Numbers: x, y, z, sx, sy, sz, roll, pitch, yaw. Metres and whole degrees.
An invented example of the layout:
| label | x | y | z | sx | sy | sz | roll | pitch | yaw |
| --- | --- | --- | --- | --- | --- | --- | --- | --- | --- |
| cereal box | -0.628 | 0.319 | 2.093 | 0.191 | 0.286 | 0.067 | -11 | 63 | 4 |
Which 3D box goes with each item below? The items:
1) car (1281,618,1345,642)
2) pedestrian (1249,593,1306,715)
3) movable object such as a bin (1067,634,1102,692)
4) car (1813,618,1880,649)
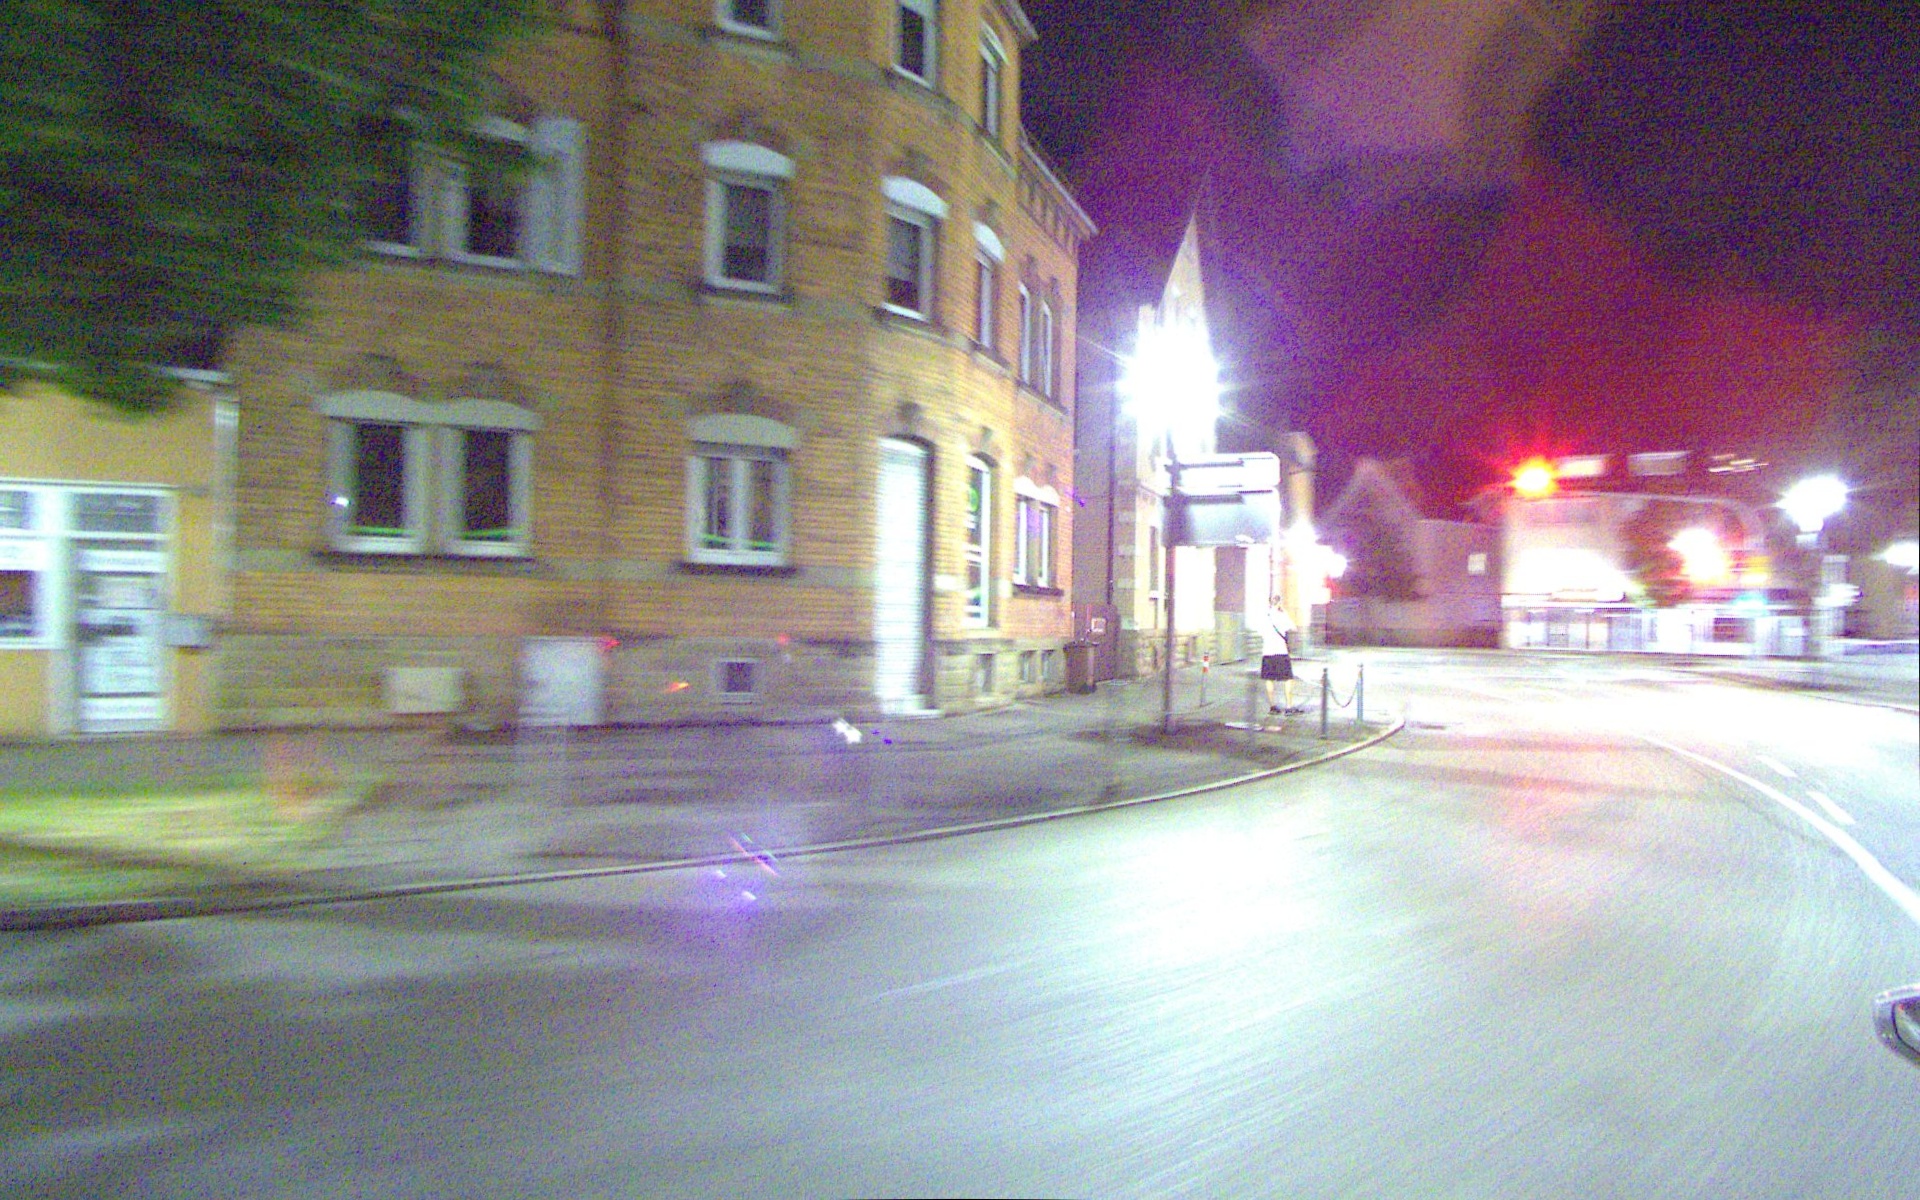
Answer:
| label | x | y | z | sx | sy | sz | roll | pitch | yaw |
| --- | --- | --- | --- | --- | --- | --- | --- | --- | --- |
| car | 24.849 | 2.148 | 70.876 | 1.971 | 1.594 | 4.308 | 1 | -3 | -21 |
| pedestrian | 4.988 | 0.824 | 15.754 | 0.712 | 1.846 | 0.691 | 2 | 0 | 25 |
| movable object such as a bin | 2.231 | 1.127 | 18.007 | 0.488 | 1.004 | 0.559 | 0 | -1 | 24 |
| car | 48.496 | 1.812 | 55.032 | 1.963 | 1.595 | 3.649 | 0 | -1 | 28 |
